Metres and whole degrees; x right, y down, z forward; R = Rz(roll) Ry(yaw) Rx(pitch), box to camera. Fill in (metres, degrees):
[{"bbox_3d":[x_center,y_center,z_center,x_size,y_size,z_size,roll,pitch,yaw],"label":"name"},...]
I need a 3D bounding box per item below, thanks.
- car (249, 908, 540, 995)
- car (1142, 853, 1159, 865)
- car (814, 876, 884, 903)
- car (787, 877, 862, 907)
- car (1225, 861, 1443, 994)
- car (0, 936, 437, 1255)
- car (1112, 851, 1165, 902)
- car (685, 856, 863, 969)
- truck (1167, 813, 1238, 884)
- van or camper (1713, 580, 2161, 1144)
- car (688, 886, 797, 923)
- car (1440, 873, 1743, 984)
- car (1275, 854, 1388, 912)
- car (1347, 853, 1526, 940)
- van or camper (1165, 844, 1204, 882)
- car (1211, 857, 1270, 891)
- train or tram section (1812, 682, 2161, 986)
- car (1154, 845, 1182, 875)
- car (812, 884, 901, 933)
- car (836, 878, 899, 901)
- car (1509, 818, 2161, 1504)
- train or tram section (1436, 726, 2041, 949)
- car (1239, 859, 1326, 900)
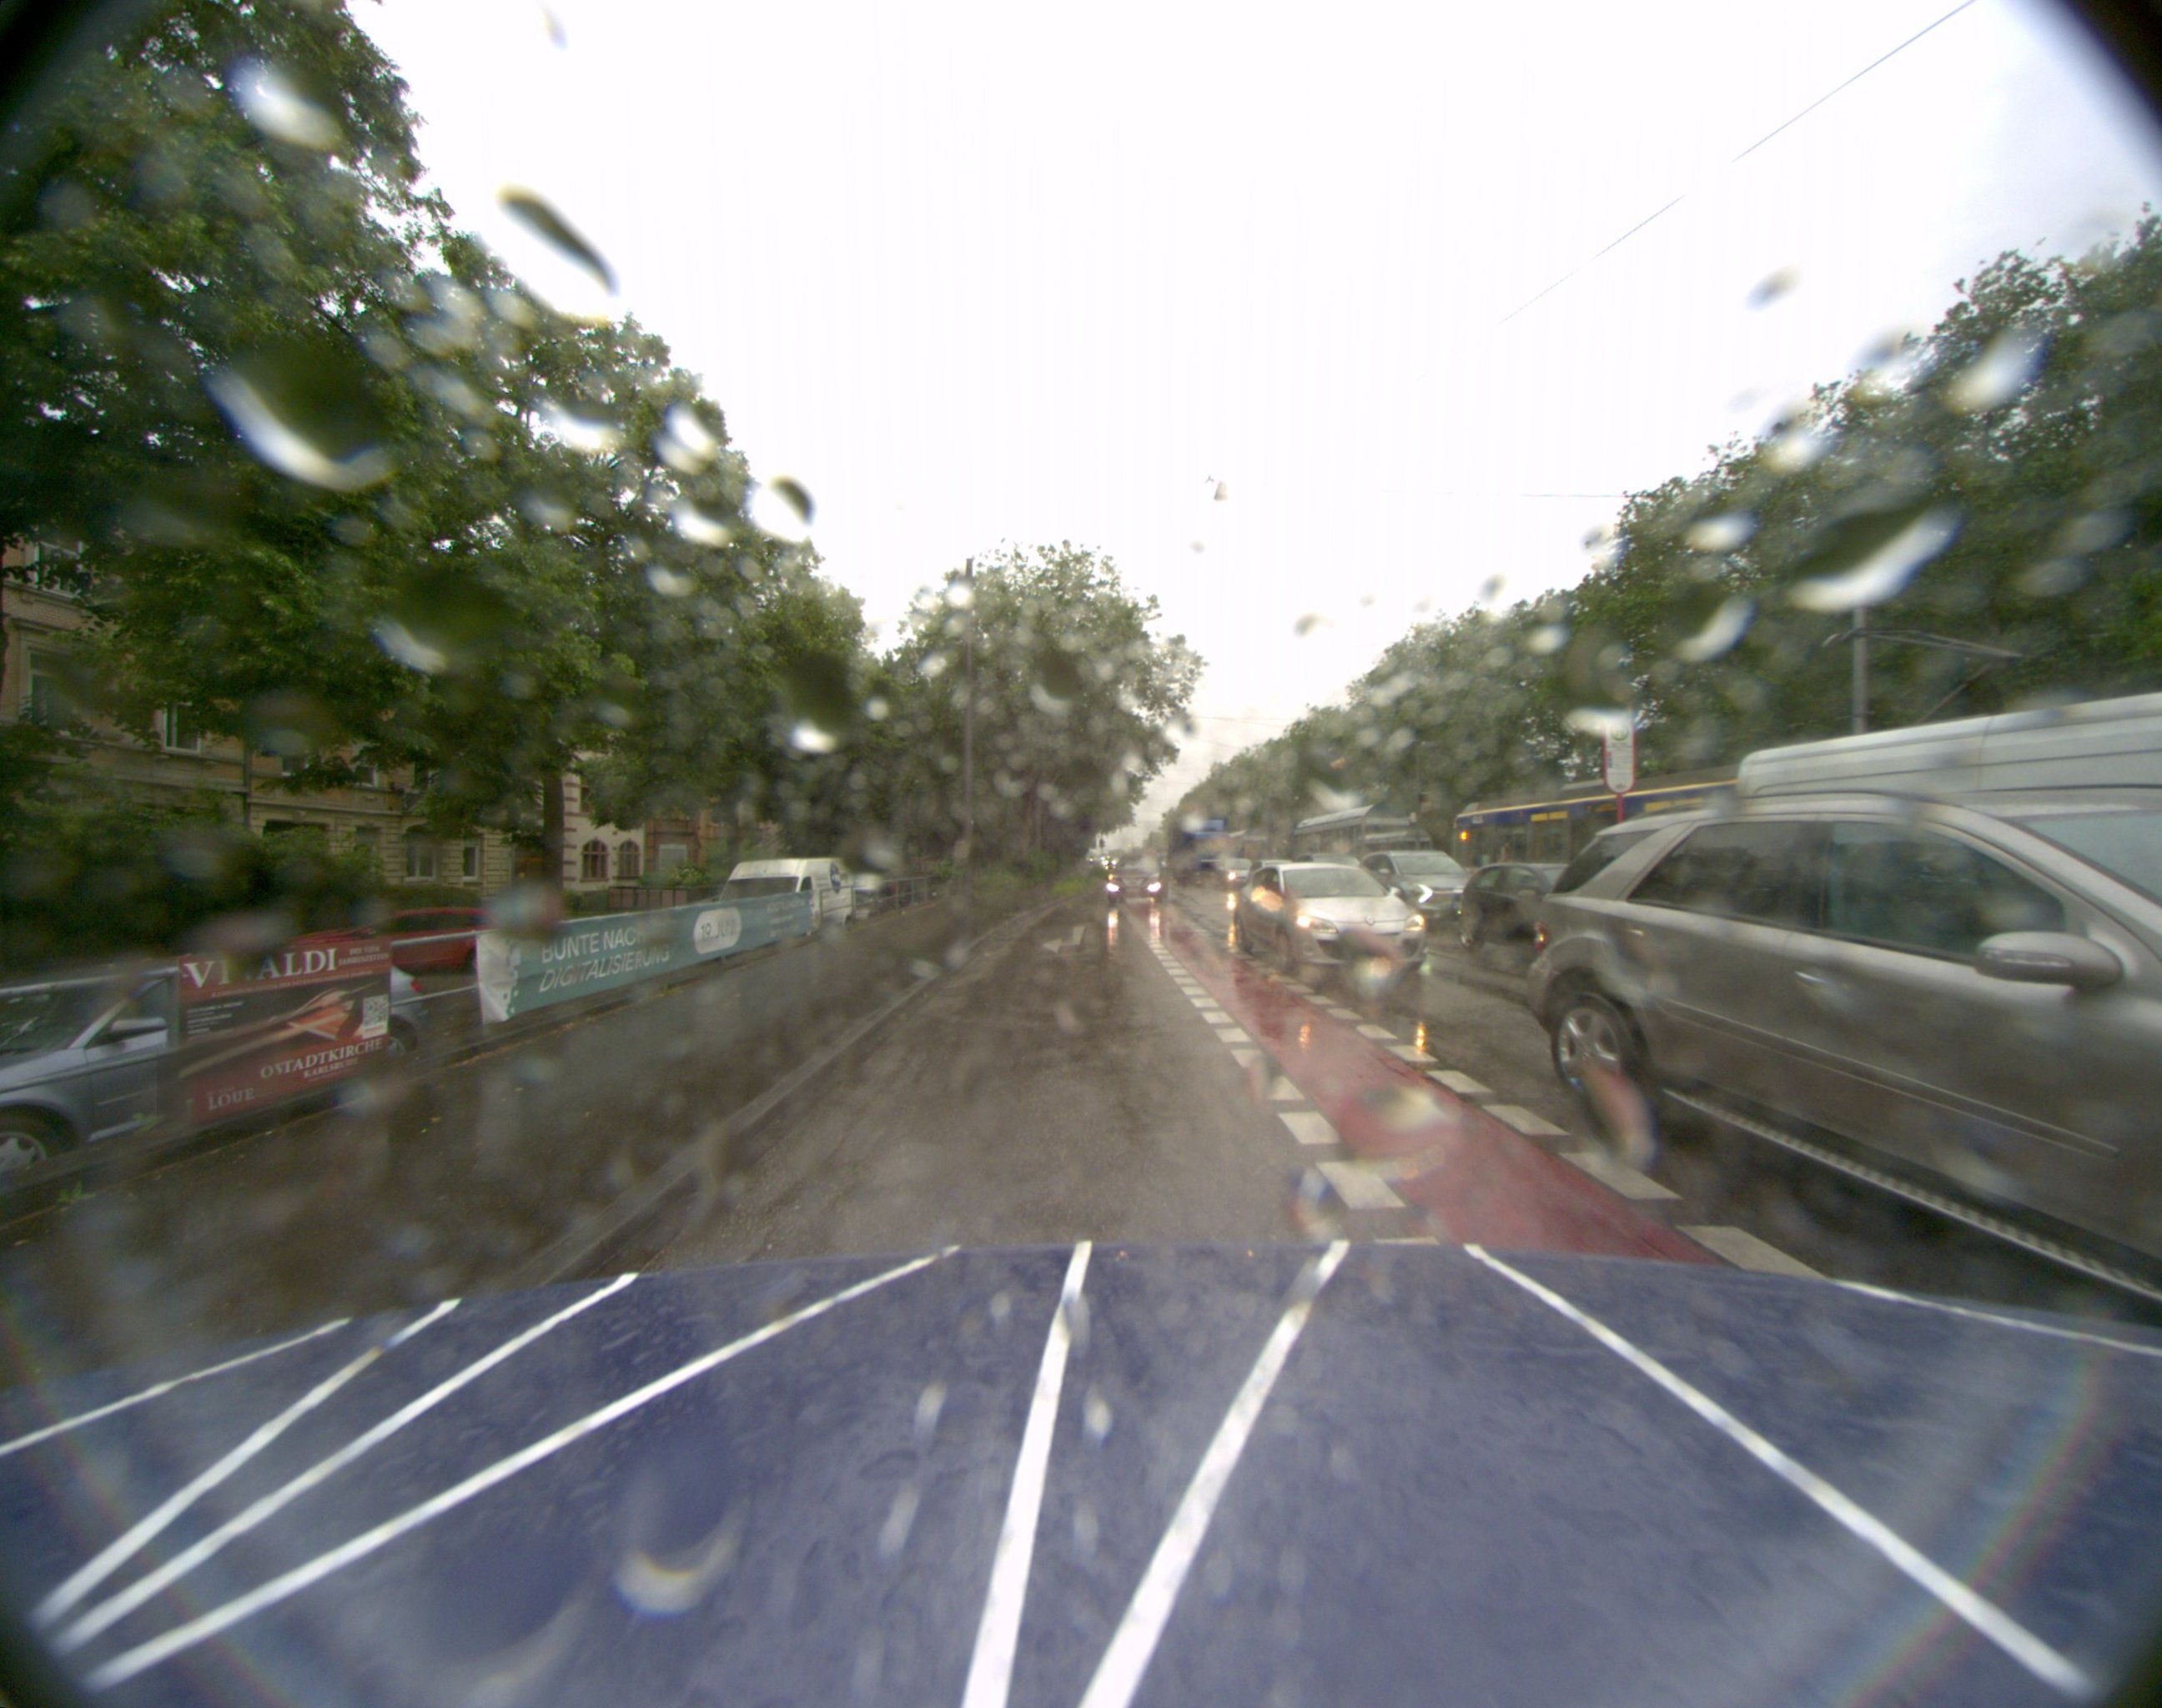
[{"bbox_3d":[-14.597,2.010,16.572,4.439,1.444,1.894,0,-1,-32],"label":"car"},{"bbox_3d":[7.385,0.532,81.258,1.467,1.185,3.615,-2,0,0],"label":"car"},{"bbox_3d":[-15.273,2.299,50.084,4.007,1.557,1.995,-2,0,-34],"label":"car"},{"bbox_3d":[-15.708,2.287,46.541,4.006,1.599,1.821,-2,0,-31],"label":"car"},{"bbox_3d":[3.361,0.891,10.948,1.772,1.469,4.000,-2,0,0],"label":"car"},{"bbox_3d":[-7.237,1.611,5.454,1.736,1.530,4.074,-2,0,-1],"label":"car"},{"bbox_3d":[2.011,0.751,27.446,1.756,1.657,3.678,-2,0,2],"label":"car"},{"bbox_3d":[-7.701,1.309,19.970,2.214,2.406,6.157,-2,0,-2],"label":"car"},{"bbox_3d":[7.170,-0.295,46.345,2.545,3.866,9.810,1,0,-1],"label":"truck"},{"bbox_3d":[7.062,0.041,4.217,2.164,3.123,5.851,0,0,-1],"label":"van or camper"},{"bbox_3d":[-14.851,2.174,33.376,4.269,1.372,1.687,-1,1,-27],"label":"car"},{"bbox_3d":[6.741,0.894,10.637,1.467,1.111,4.087,-2,0,0],"label":"car"},{"bbox_3d":[7.574,0.804,23.454,1.999,1.611,4.320,0,0,-1],"label":"car"},{"bbox_3d":[7.455,0.790,16.492,1.919,1.614,4.455,0,0,2],"label":"car"},{"bbox_3d":[7.655,0.622,56.986,1.998,2.555,6.431,-2,0,0],"label":"van or camper"},{"bbox_3d":[7.593,0.929,36.504,1.895,1.478,4.077,-1,0,-1],"label":"car"},{"bbox_3d":[13.730,-0.279,4.779,3.549,3.393,15.505,-2,0,1],"label":"train or tram section"},{"bbox_3d":[7.459,0.468,65.589,1.998,2.412,5.728,-2,0,3],"label":"car"},{"bbox_3d":[-7.882,1.883,27.106,1.972,1.345,4.383,-2,0,-3],"label":"car"},{"bbox_3d":[-15.519,2.561,55.234,4.007,1.455,1.908,-2,0,-34],"label":"car"},{"bbox_3d":[3.761,0.758,2.607,2.030,1.760,4.462,-2,0,0],"label":"car"},{"bbox_3d":[13.889,-0.277,19.198,3.522,3.492,13.659,-2,0,1],"label":"train or tram section"},{"bbox_3d":[7.534,0.925,28.931,1.999,1.386,4.606,0,0,-1],"label":"car"}]
